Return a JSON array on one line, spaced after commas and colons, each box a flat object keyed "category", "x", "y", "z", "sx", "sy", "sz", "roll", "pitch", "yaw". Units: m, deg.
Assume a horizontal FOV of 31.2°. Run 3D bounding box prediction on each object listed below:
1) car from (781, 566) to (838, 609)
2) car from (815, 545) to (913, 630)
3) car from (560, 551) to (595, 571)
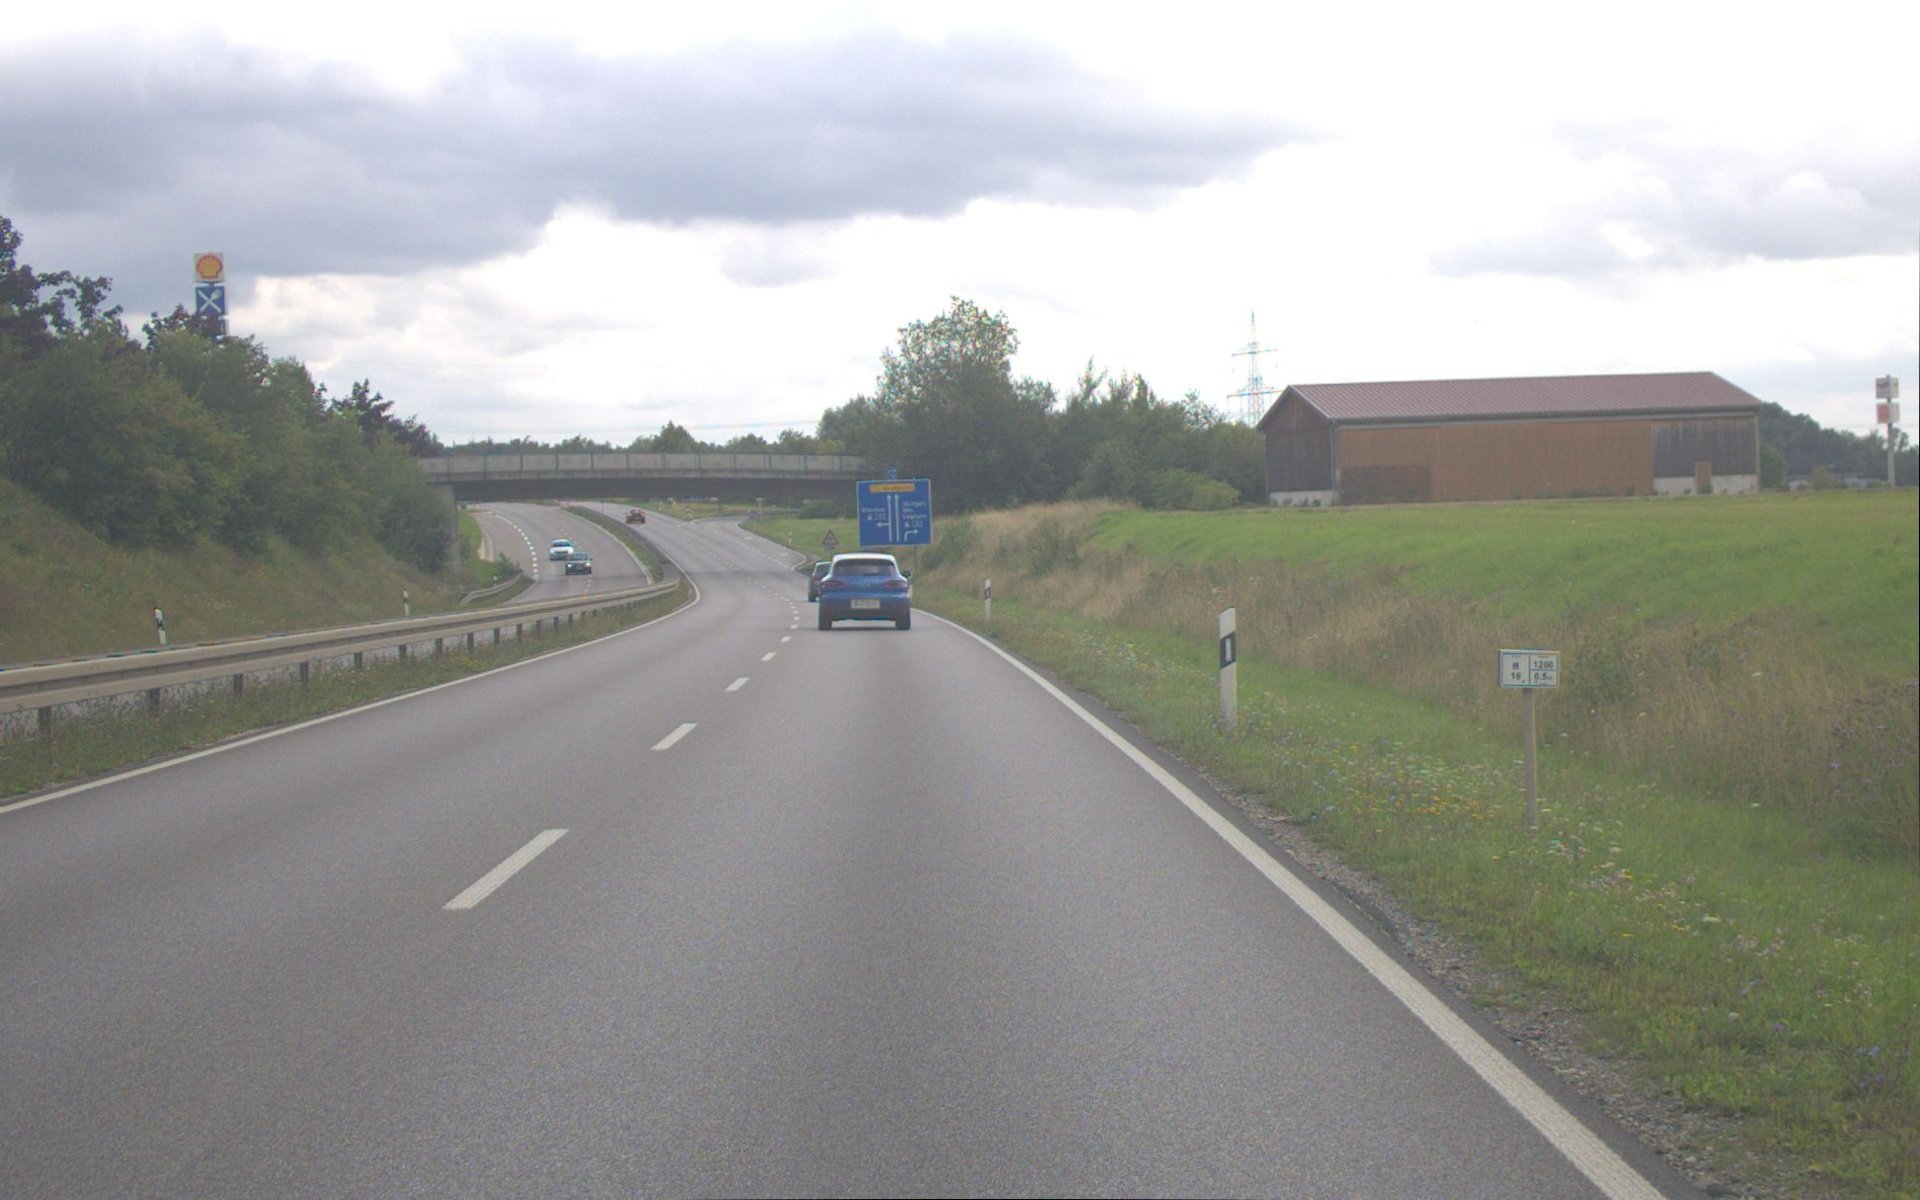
[{"category": "car", "x": -5.690, "y": -0.498, "z": 129.677, "sx": 1.917, "sy": 1.448, "sz": 4.365, "roll": -2, "pitch": 2, "yaw": -5}, {"category": "car", "x": -2.069, "y": -0.297, "z": 73.391, "sx": 2.033, "sy": 1.654, "sz": 4.544, "roll": 0, "pitch": 2, "yaw": -2}, {"category": "car", "x": -25.784, "y": -2.629, "z": 231.784, "sx": 1.993, "sy": 1.300, "sz": 4.822, "roll": -2, "pitch": 1, "yaw": -3}]
